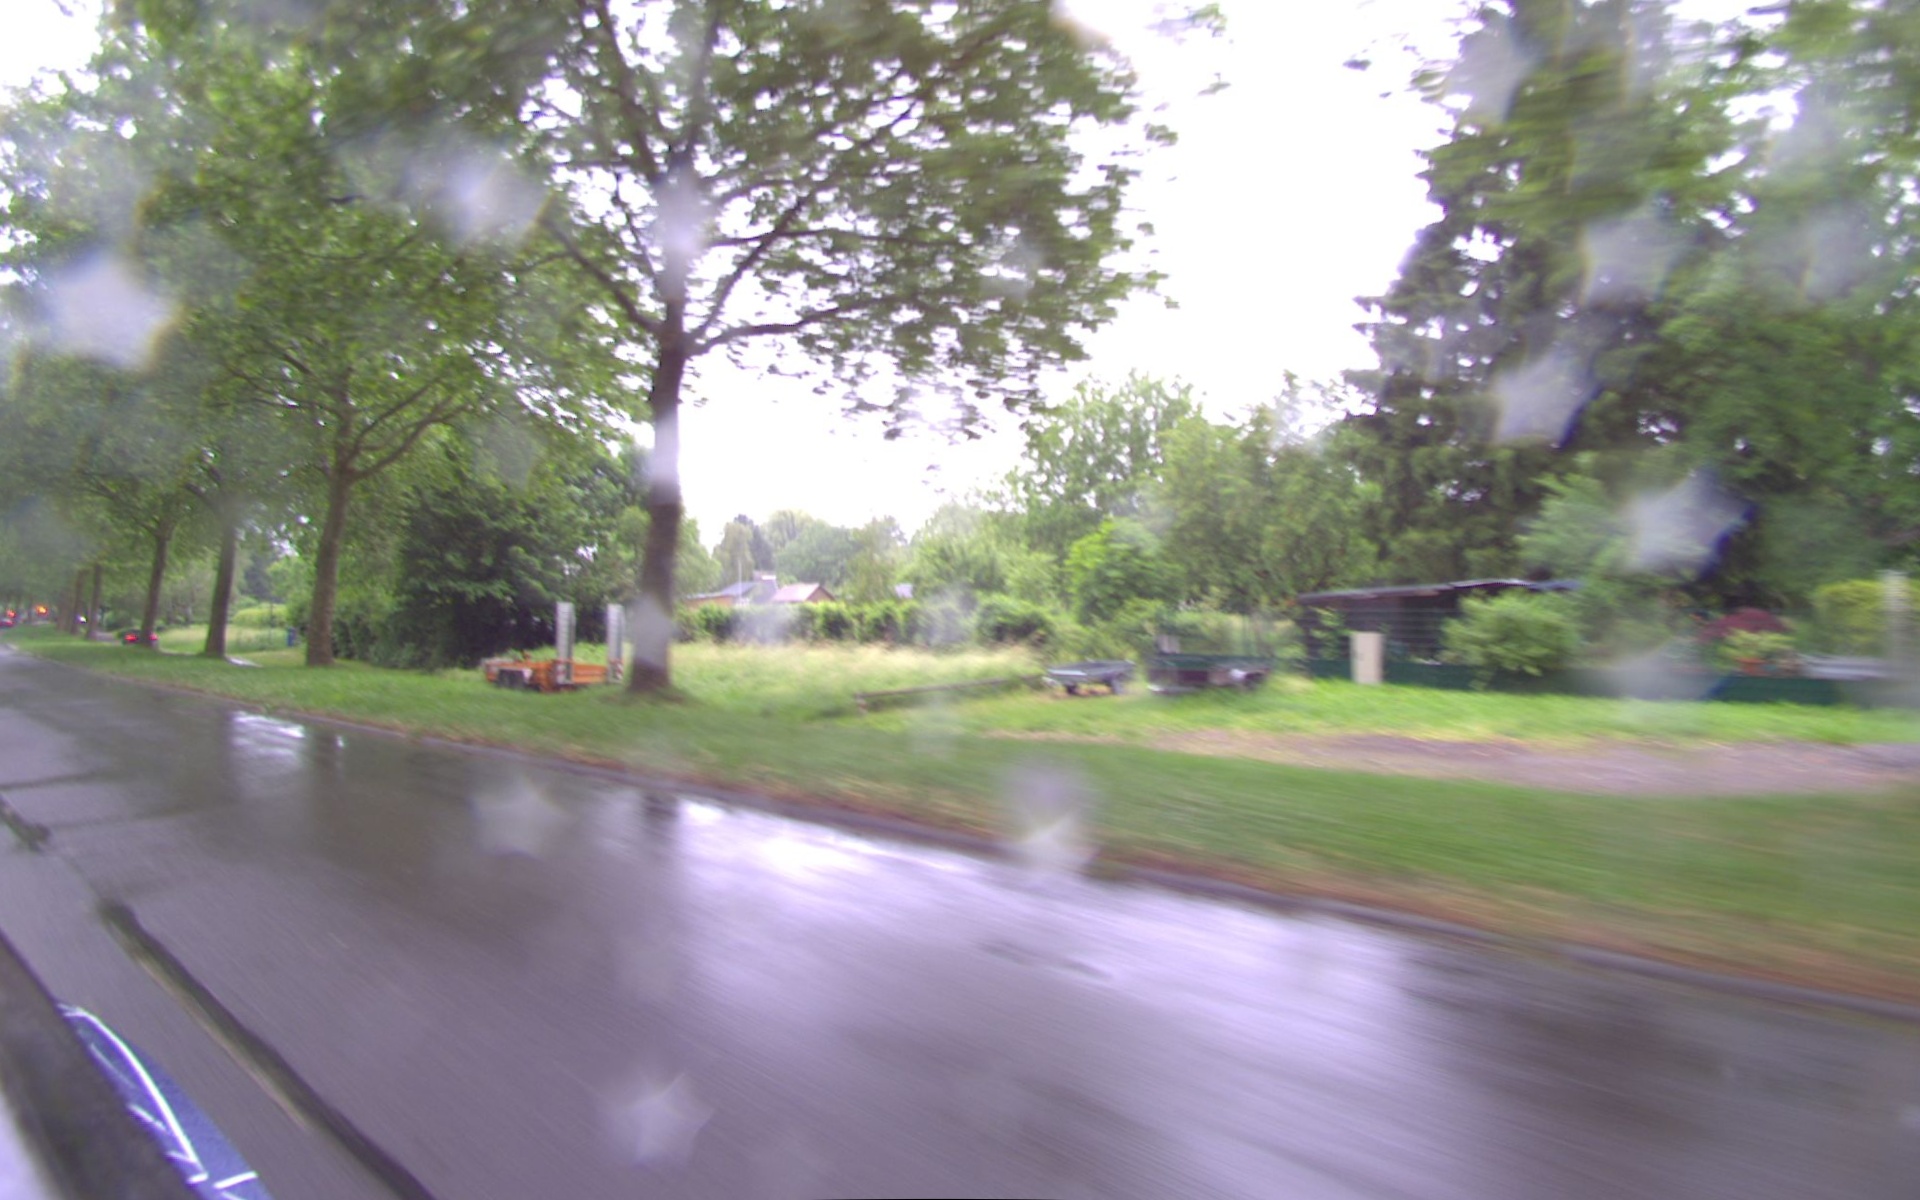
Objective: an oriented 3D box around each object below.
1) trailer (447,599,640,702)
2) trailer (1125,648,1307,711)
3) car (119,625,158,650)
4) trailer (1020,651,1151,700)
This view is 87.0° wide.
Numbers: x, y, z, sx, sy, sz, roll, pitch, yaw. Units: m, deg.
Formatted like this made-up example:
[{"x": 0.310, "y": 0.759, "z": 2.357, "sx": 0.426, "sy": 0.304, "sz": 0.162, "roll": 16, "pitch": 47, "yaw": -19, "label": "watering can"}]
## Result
[{"x": -12.399, "y": 1.363, "z": 29.797, "sx": 6.653, "sy": 2.684, "sz": 2.767, "roll": -1, "pitch": -1, "yaw": 43, "label": "trailer"}, {"x": 5.858, "y": 1.713, "z": 22.849, "sx": 2.380, "sy": 1.040, "sz": 4.273, "roll": -1, "pitch": 0, "yaw": 40, "label": "trailer"}, {"x": -60.116, "y": 2.718, "z": 74.117, "sx": 1.868, "sy": 1.695, "sz": 4.010, "roll": 0, "pitch": -1, "yaw": -34, "label": "car"}, {"x": 3.104, "y": 1.792, "z": 24.660, "sx": 1.768, "sy": 0.952, "sz": 3.043, "roll": -1, "pitch": -1, "yaw": 41, "label": "trailer"}]
